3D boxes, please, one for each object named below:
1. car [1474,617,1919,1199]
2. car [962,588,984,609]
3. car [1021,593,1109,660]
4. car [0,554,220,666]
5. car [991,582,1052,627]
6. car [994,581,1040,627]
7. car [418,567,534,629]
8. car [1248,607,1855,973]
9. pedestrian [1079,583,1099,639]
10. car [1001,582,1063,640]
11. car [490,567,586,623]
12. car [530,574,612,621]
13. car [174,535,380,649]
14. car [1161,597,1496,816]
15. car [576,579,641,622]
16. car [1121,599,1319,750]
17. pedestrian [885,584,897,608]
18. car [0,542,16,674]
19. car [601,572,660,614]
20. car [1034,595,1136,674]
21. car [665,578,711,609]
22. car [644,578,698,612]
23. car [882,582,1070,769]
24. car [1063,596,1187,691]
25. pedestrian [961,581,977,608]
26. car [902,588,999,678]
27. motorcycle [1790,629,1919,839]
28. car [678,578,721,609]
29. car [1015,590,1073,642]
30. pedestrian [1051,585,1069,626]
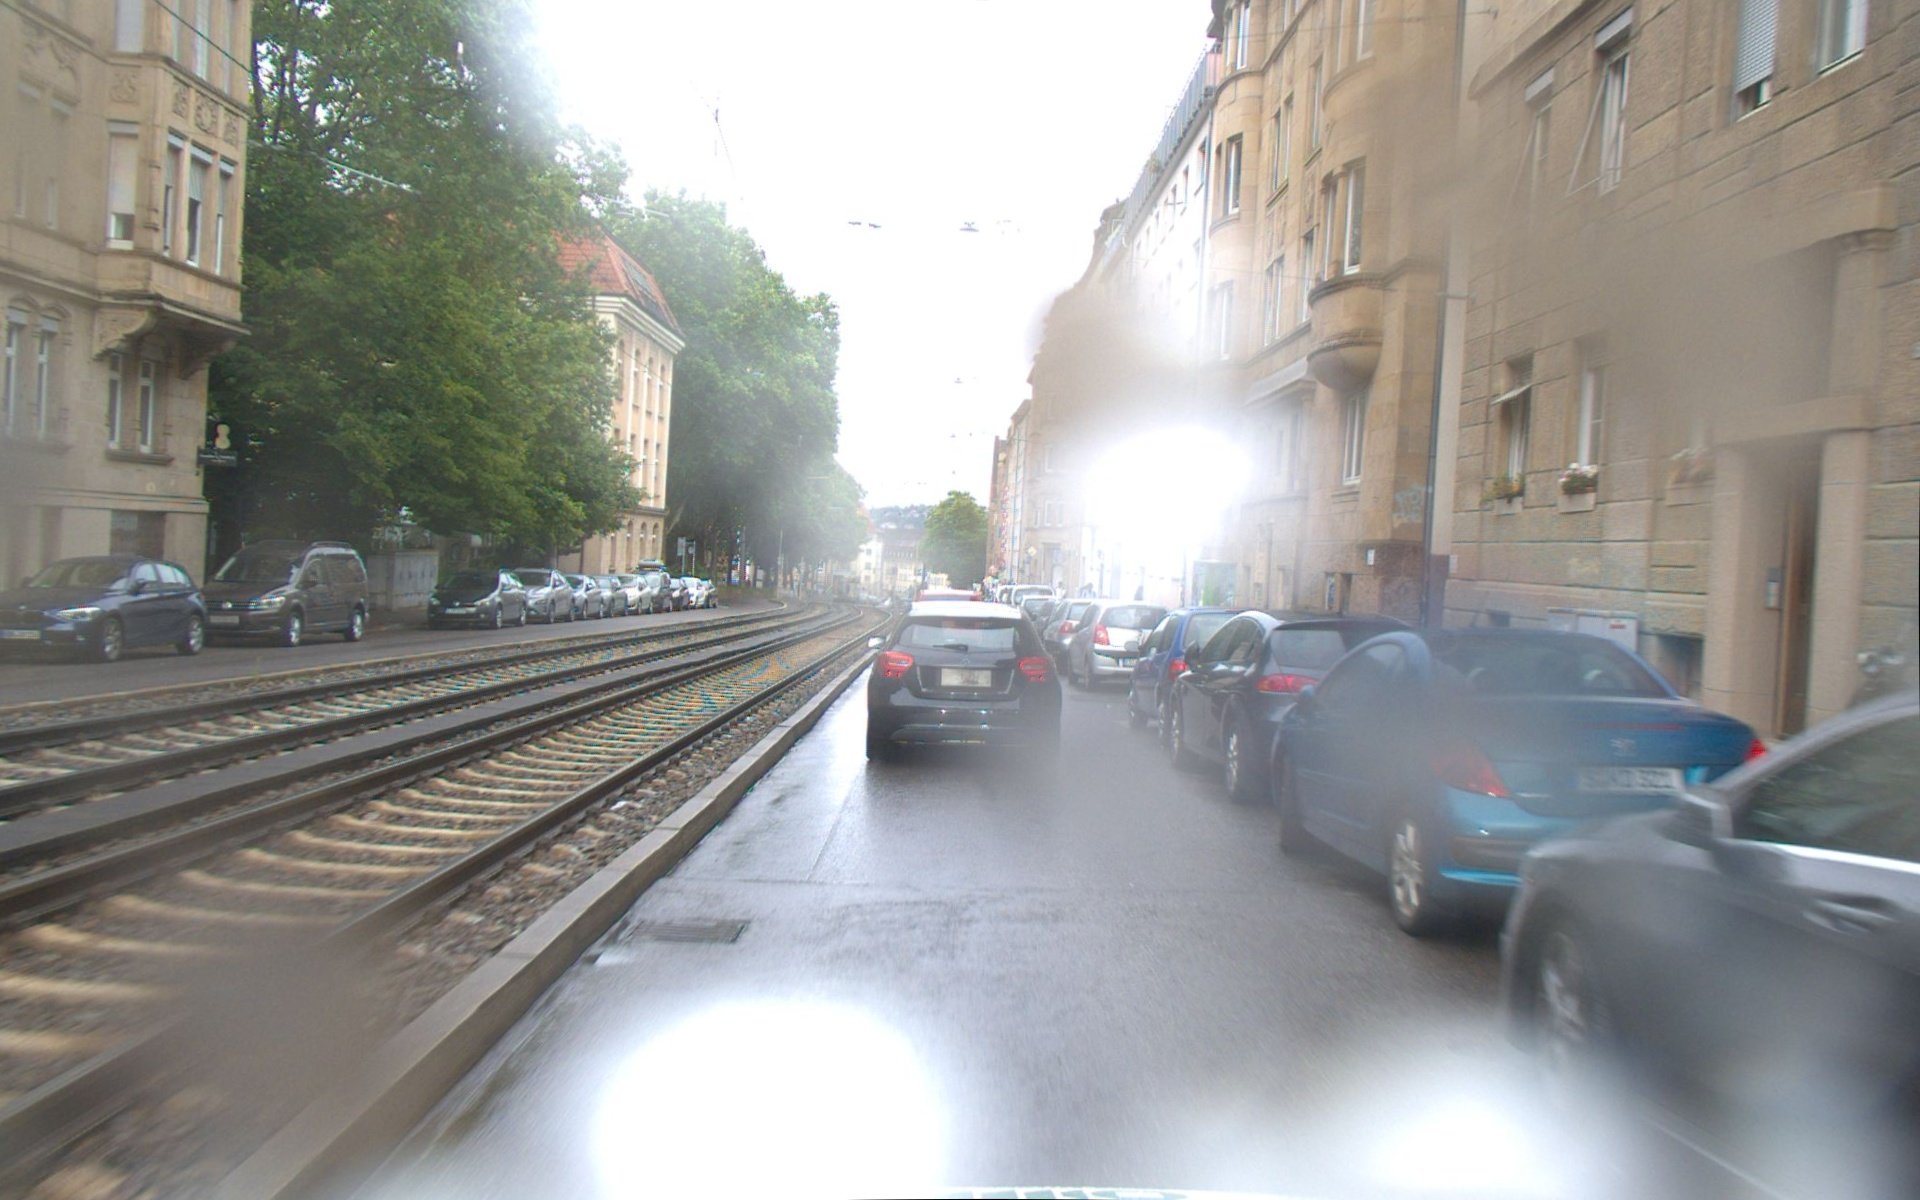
[{"bbox_3d":[2.722,0.791,3.346,1.720,1.411,4.482,0,0,-4],"label":"car"},{"bbox_3d":[1.083,-0.110,136.647,1.790,1.646,3.864,1,1,0],"label":"car"},{"bbox_3d":[2.433,0.591,39.184,1.636,1.434,4.310,2,0,-2],"label":"car"},{"bbox_3d":[-12.235,0.100,23.369,1.727,1.422,4.268,1,0,-2],"label":"car"},{"bbox_3d":[2.154,0.131,59.454,1.833,1.481,4.901,2,1,-2],"label":"car"},{"bbox_3d":[2.356,0.151,68.916,1.790,1.781,4.467,2,1,1],"label":"car"},{"bbox_3d":[-12.370,-0.068,42.579,1.812,1.489,4.548,0,0,-2],"label":"car"},{"bbox_3d":[2.808,0.800,8.861,1.672,1.422,4.017,2,0,-2],"label":"car"},{"bbox_3d":[4.166,0.353,53.463,0.594,1.794,0.688,0,0,-1],"label":"pedestrian"},{"bbox_3d":[2.309,0.335,54.112,1.754,1.796,4.211,1,0,-1],"label":"car"},{"bbox_3d":[-12.299,-0.149,48.472,1.718,1.563,4.542,0,0,-1],"label":"car"},{"bbox_3d":[-12.518,-0.088,53.432,1.718,1.438,4.152,0,0,-1],"label":"car"},{"bbox_3d":[-12.232,-0.153,29.982,1.764,1.879,4.818,1,0,-1],"label":"car"},{"bbox_3d":[2.889,0.759,13.876,1.751,1.488,4.082,2,0,-2],"label":"car"},{"bbox_3d":[-12.223,-0.002,57.672,1.508,1.438,3.952,0,0,-1],"label":"car"},{"bbox_3d":[2.778,0.750,18.301,1.512,1.439,3.445,2,0,-2],"label":"car"},{"bbox_3d":[-4.994,-0.287,119.403,0.789,1.662,0.892,1,0,0],"label":"pedestrian"},{"bbox_3d":[-12.120,0.095,17.833,1.660,1.550,3.855,1,0,0],"label":"car"},{"bbox_3d":[-12.540,-0.269,63.161,1.508,1.531,4.153,0,0,-1],"label":"car"},{"bbox_3d":[2.475,0.658,33.527,1.634,1.459,3.955,1,0,-2],"label":"car"},{"bbox_3d":[-12.778,-0.309,77.965,1.469,1.415,3.988,0,0,1],"label":"car"},{"bbox_3d":[-12.781,-0.227,73.221,1.640,1.438,4.010,0,0,1],"label":"car"},{"bbox_3d":[0.107,0.628,15.823,1.548,1.531,3.574,2,0,-1],"label":"car"},{"bbox_3d":[2.730,0.683,28.040,1.558,1.459,3.682,1,0,-3],"label":"car"},{"bbox_3d":[0.670,-0.400,124.611,1.115,2.033,1.171,1,0,-4],"label":"pedestrian"},{"bbox_3d":[-0.188,0.595,32.541,1.749,1.608,4.000,2,0,-1],"label":"car"},{"bbox_3d":[6.107,0.832,10.058,0.691,1.219,2.745,2,0,0],"label":"motorcycle"},{"bbox_3d":[-12.911,-0.330,82.164,1.581,1.454,3.852,2,1,-1],"label":"car"},{"bbox_3d":[2.510,0.450,50.080,1.538,1.487,3.599,2,0,0],"label":"car"},{"bbox_3d":[4.581,0.254,75.867,0.730,1.866,1.039,0,0,1],"label":"pedestrian"}]
